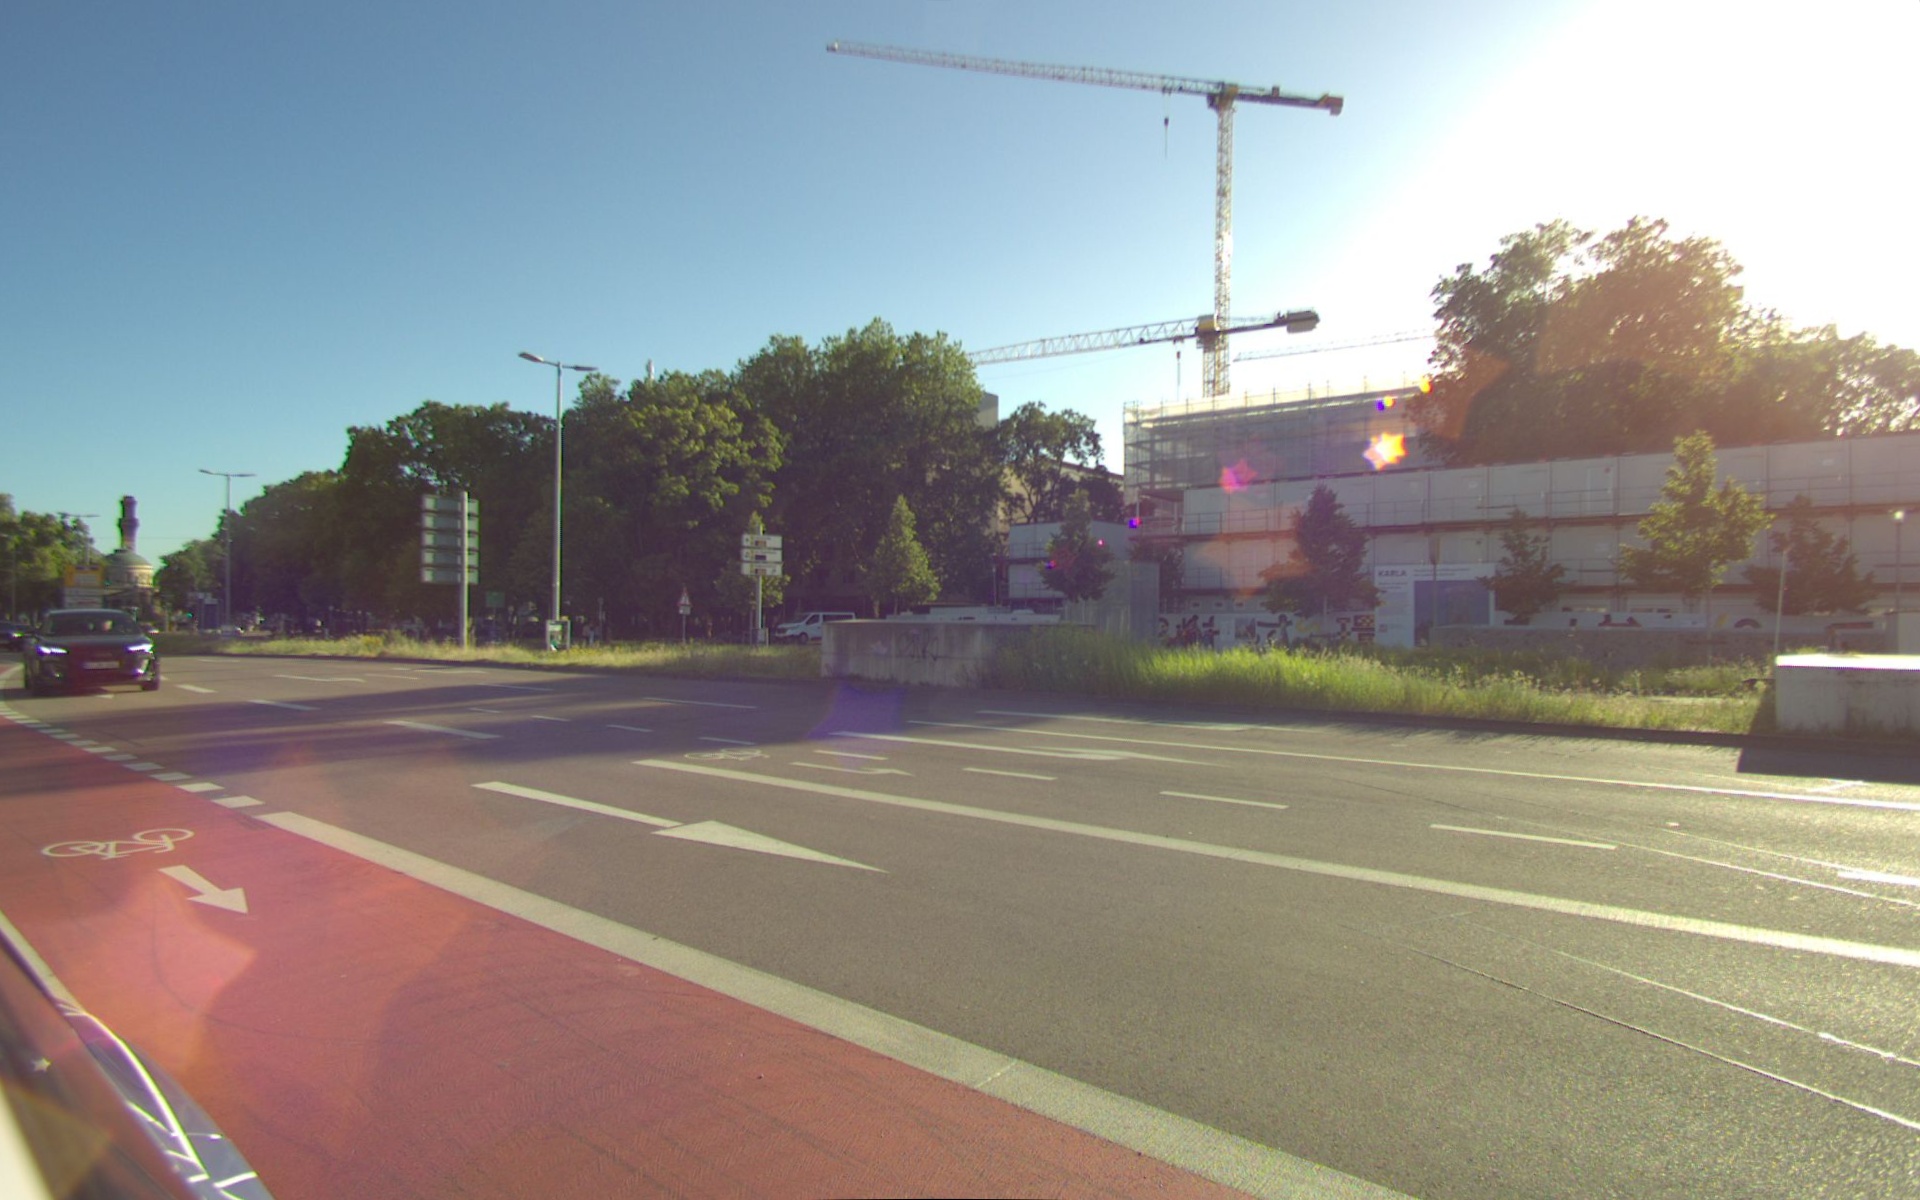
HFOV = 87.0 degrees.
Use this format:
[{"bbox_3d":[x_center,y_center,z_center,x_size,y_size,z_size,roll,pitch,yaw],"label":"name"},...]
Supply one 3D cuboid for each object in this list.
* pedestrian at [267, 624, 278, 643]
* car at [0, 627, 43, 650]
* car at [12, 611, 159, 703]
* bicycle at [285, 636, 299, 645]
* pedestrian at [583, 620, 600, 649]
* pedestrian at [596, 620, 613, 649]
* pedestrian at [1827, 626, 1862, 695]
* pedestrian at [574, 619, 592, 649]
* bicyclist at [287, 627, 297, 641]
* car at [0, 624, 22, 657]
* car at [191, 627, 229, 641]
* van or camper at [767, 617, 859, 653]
[{"bbox_3d":[-66.494,3.249,97.849,0.924,1.862,0.620,-1,-2,40],"label":"pedestrian"},{"bbox_3d":[-63.171,2.556,67.850,4.485,1.417,1.973,-1,0,40],"label":"car"},{"bbox_3d":[-17.891,1.075,20.620,4.619,1.656,1.910,-1,-2,45],"label":"car"},{"bbox_3d":[-61.332,3.700,92.899,1.744,0.849,0.602,-1,-2,40],"label":"bicycle"},{"bbox_3d":[-22.248,2.065,61.115,0.762,1.738,0.656,-1,-2,41],"label":"pedestrian"},{"bbox_3d":[-21.690,2.084,61.808,0.762,1.738,0.697,-2,-2,43],"label":"pedestrian"},{"bbox_3d":[21.902,1.483,25.071,0.626,1.665,0.930,-1,-2,41],"label":"pedestrian"},{"bbox_3d":[-22.501,2.029,60.389,0.762,1.738,0.698,-1,-2,41],"label":"pedestrian"},{"bbox_3d":[-61.331,3.080,92.917,0.714,1.291,0.603,-1,-2,40],"label":"bicyclist"},{"bbox_3d":[-52.482,2.171,54.819,4.323,1.732,1.973,-1,-2,41],"label":"car"},{"bbox_3d":[-85.442,3.828,115.284,1.967,1.519,4.009,0,-2,-12],"label":"car"},{"bbox_3d":[-8.934,2.092,61.942,1.948,2.029,5.576,-1,0,42],"label":"van or camper"}]
